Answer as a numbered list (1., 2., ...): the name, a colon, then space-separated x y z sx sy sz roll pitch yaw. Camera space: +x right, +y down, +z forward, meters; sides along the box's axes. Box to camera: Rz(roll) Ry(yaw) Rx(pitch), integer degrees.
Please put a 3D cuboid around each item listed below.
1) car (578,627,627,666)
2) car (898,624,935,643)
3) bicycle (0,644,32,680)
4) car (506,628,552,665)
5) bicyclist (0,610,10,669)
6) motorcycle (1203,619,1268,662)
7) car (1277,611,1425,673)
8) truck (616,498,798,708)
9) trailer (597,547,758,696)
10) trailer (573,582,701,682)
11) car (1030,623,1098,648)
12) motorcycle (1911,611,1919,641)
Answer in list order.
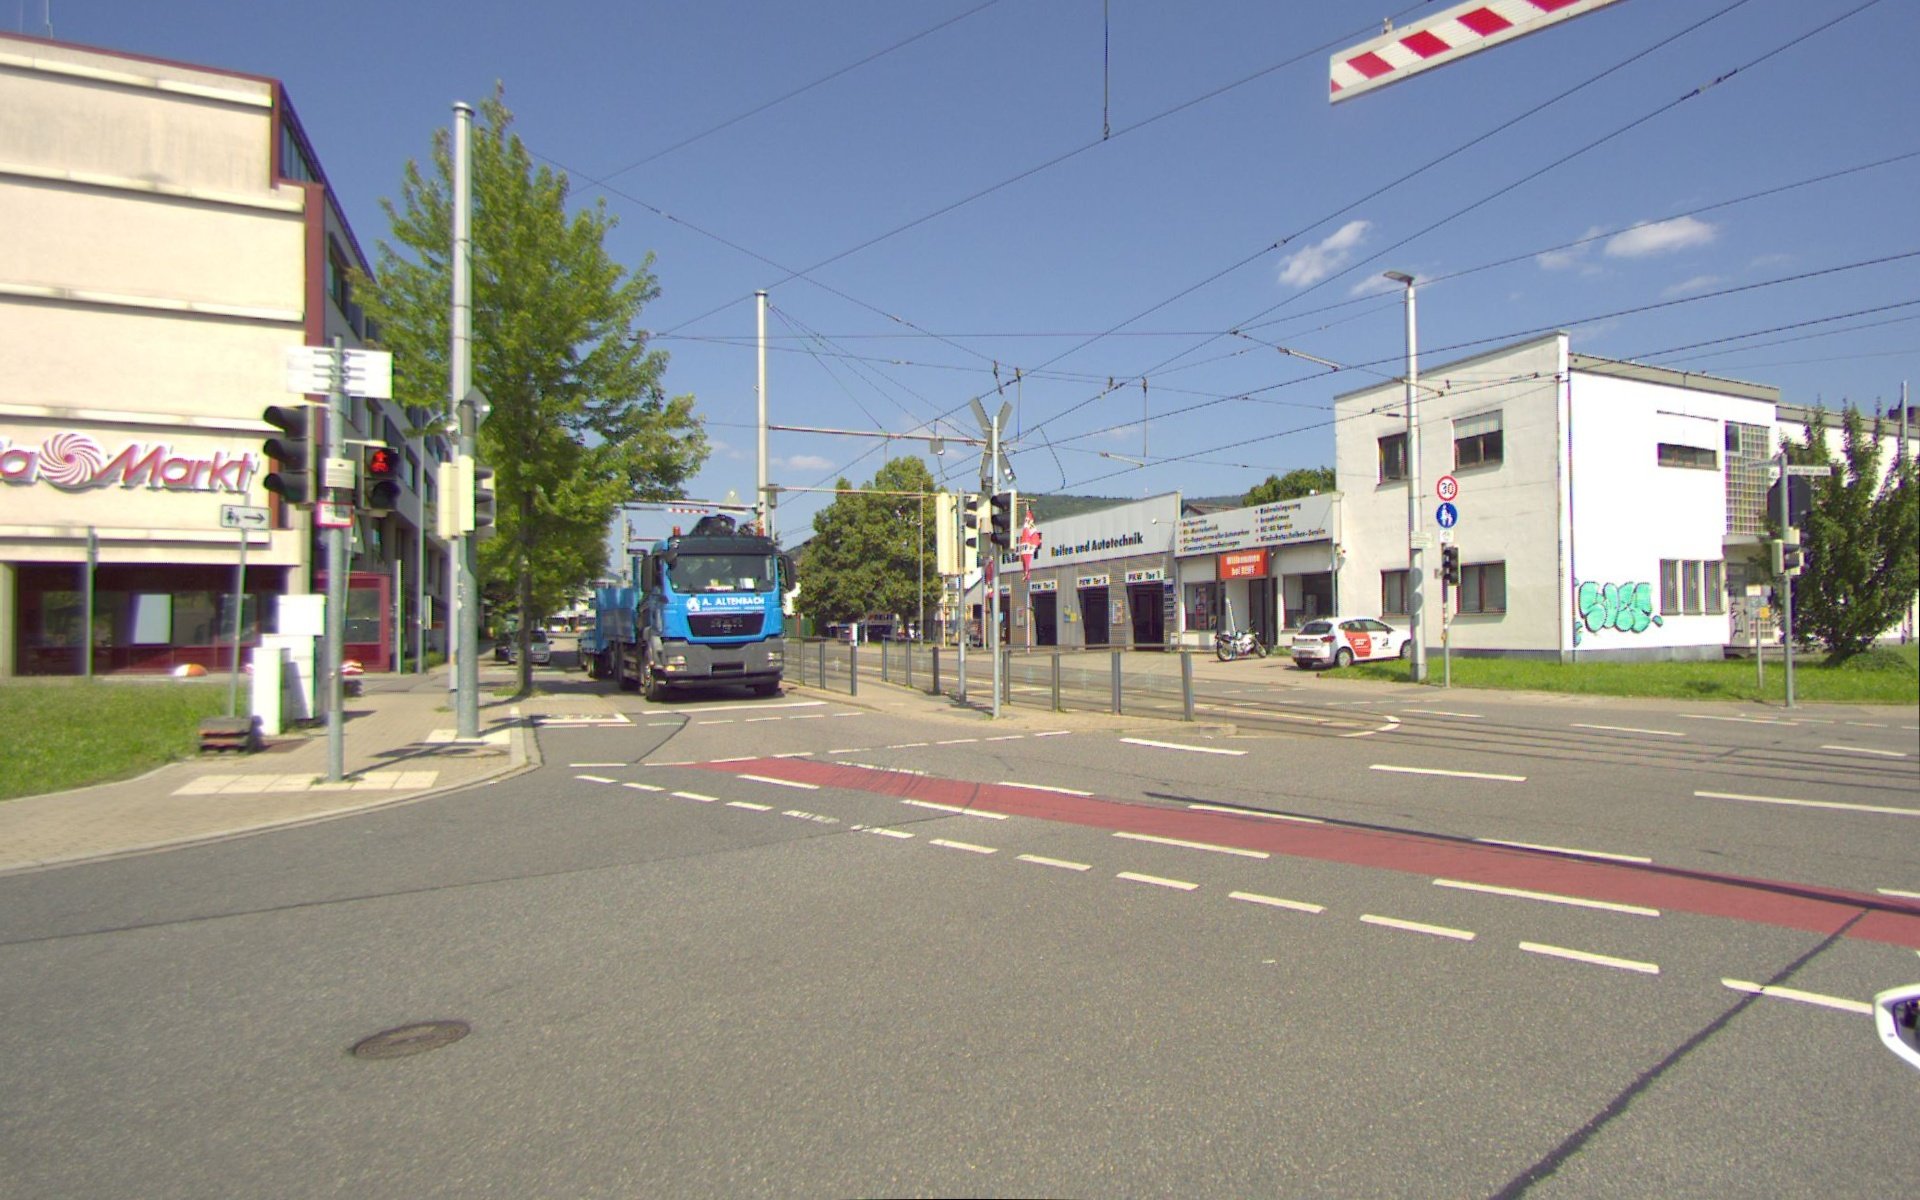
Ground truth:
1. car: -16.013 2.036 44.897 1.704 1.605 4.047 -3 0 -25
2. car: -3.567 2.681 81.212 1.724 1.479 3.978 0 -1 -23
3. bicycle: -24.688 1.545 25.251 1.816 0.860 0.725 2 -1 -22
4. car: -18.479 1.987 43.155 1.704 1.482 3.883 2 -2 -23
5. bicyclist: -24.676 0.987 25.247 0.909 1.467 0.719 2 0 -21
6. motorcycle: 9.629 1.407 35.088 2.161 1.326 0.727 -3 0 -26
7. car: 11.585 1.211 29.753 3.946 1.482 1.878 -4 0 -26
8. truck: -5.281 0.107 20.353 2.715 3.656 5.010 0 -1 -25
9. trailer: -6.972 0.517 24.067 2.715 3.017 6.857 0 -1 -24
10. trailer: -10.030 0.931 30.625 2.768 2.663 7.553 0 -1 -25
11. car: 6.253 2.111 60.378 3.727 1.394 1.712 0 -1 -29
12. motorcycle: 34.984 0.957 35.771 2.535 1.046 0.848 2 -1 -28
